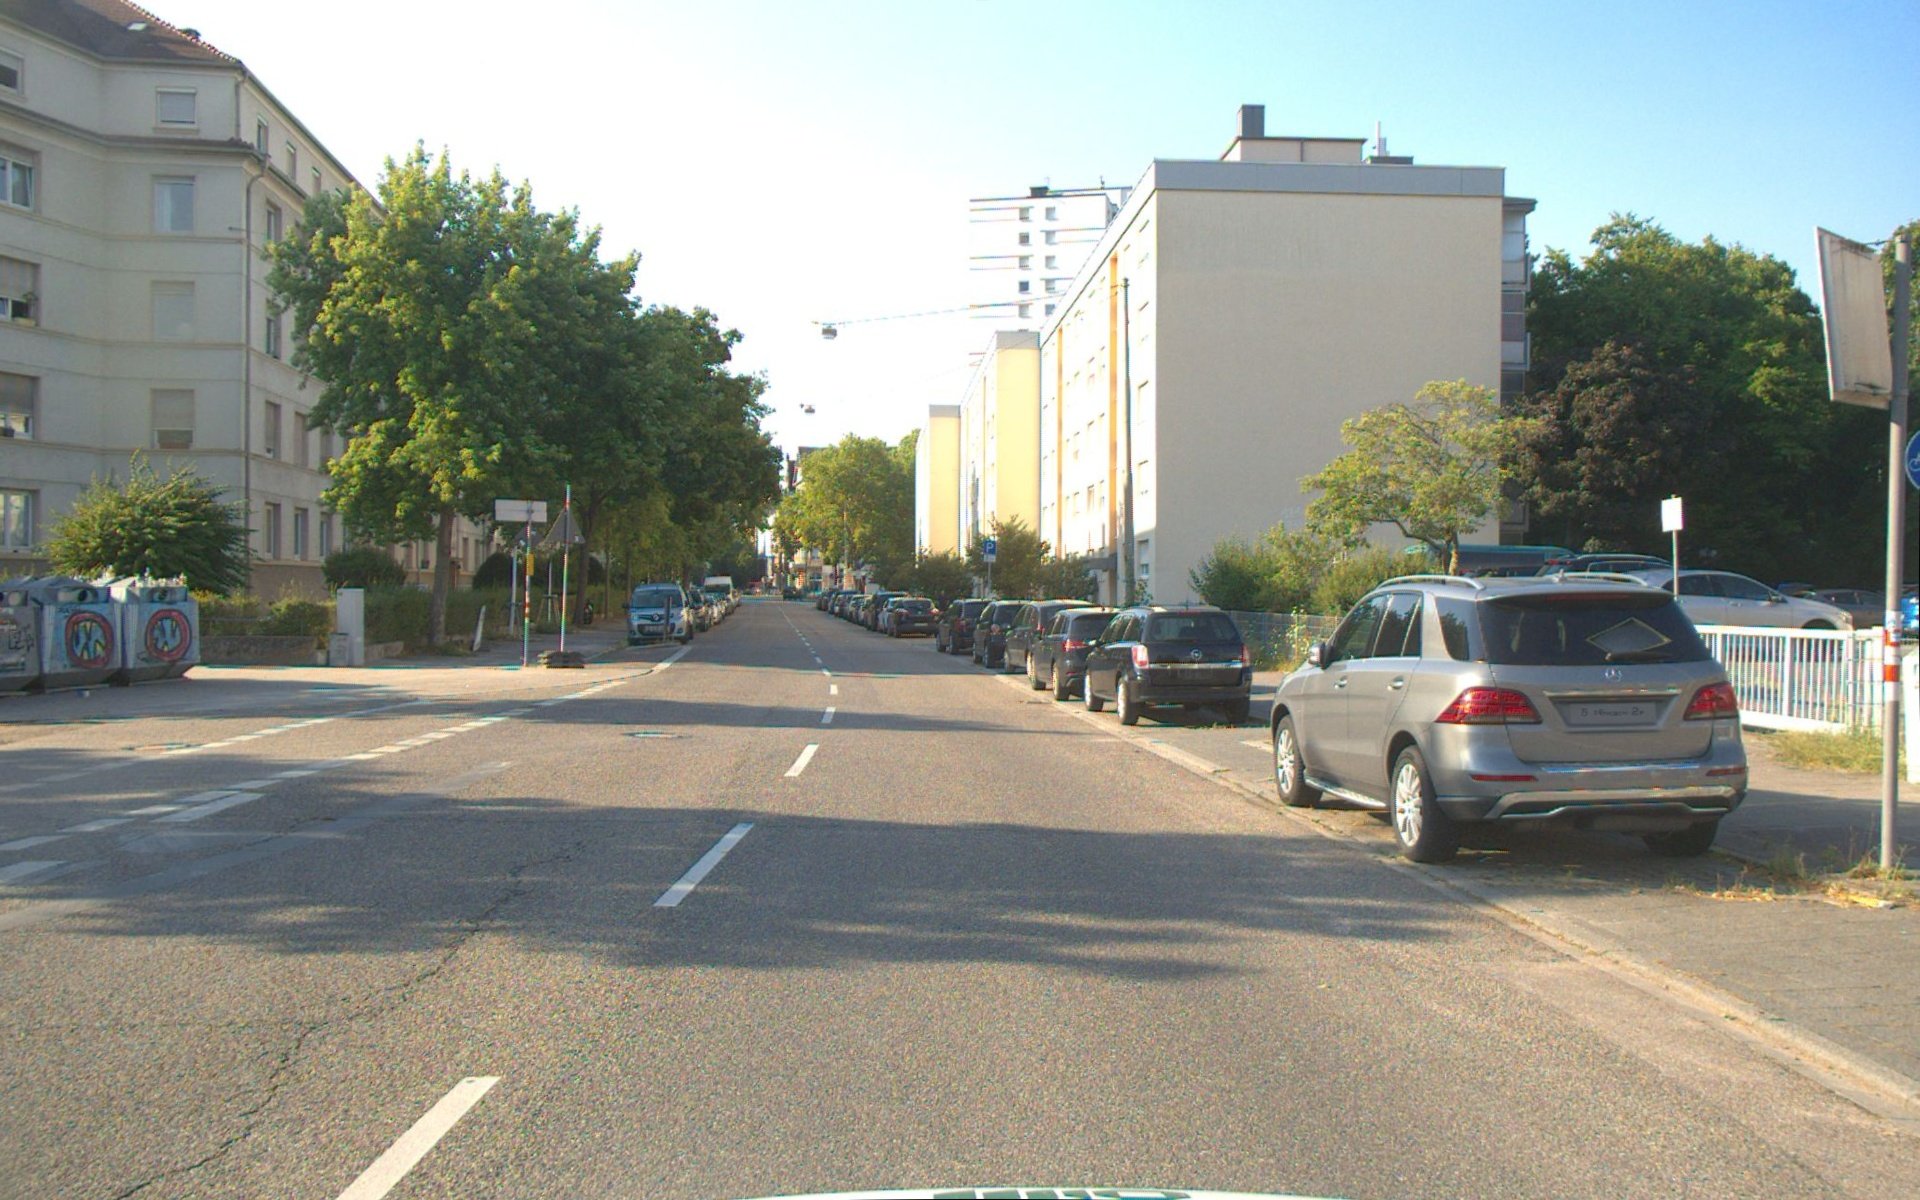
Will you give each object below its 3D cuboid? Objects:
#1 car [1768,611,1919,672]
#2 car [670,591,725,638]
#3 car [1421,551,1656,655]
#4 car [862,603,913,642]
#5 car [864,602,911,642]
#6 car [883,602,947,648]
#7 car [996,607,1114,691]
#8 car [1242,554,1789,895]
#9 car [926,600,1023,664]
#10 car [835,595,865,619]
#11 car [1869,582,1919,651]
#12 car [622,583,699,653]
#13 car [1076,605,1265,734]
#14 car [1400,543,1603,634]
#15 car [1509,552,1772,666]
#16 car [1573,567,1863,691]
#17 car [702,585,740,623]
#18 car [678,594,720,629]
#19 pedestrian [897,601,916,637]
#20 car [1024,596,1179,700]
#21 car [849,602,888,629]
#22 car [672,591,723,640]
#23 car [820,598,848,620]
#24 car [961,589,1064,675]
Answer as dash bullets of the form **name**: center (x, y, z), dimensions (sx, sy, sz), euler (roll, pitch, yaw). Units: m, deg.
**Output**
- **car**: center (25.072, 1.171, 46.360), dimensions (3.994, 1.530, 1.828), euler (3, -1, -7)
- **car**: center (-9.576, 0.535, 60.516), dimensions (1.839, 1.579, 3.992), euler (3, -1, -9)
- **car**: center (11.472, 0.077, 32.970), dimensions (3.909, 1.825, 1.998), euler (3, -1, -5)
- **car**: center (-3.053, 0.935, 68.822), dimensions (1.738, 1.534, 3.992), euler (-1, -1, -8)
- **car**: center (-3.295, 0.987, 74.136), dimensions (1.738, 1.707, 4.639), euler (1, -1, -7)
- **car**: center (-1.750, 0.961, 63.319), dimensions (1.766, 1.533, 4.612), euler (6, -2, -9)
- **car**: center (1.855, 0.943, 33.480), dimensions (1.619, 1.461, 3.953), euler (0, 2, -8)
- **car**: center (3.547, 0.733, 11.709), dimensions (1.884, 1.810, 4.805), euler (-3, -1, -4)
- **car**: center (0.341, 0.864, 45.750), dimensions (1.851, 1.588, 4.936), euler (-3, 0, -9)
- **car**: center (-7.536, 0.478, 113.016), dimensions (1.802, 1.528, 4.167), euler (3, -1, -6)
- **car**: center (25.172, 0.507, 40.982), dimensions (4.389, 1.630, 1.731), euler (3, -1, -4)
- **car**: center (-9.041, 0.554, 50.223), dimensions (1.806, 1.929, 4.481), euler (4, -1, -6)
- **car**: center (2.761, 0.891, 22.690), dimensions (1.707, 1.568, 4.435), euler (-1, -1, -4)
- **car**: center (12.310, -0.238, 37.734), dimensions (3.911, 1.825, 1.997), euler (3, -1, -7)
- **car**: center (12.283, 0.185, 29.980), dimensions (3.911, 1.825, 1.997), euler (3, -1, -7)
- **car**: center (12.559, 0.488, 27.549), dimensions (3.911, 1.825, 1.997), euler (3, -1, -7)
- **car**: center (-16.555, 0.309, 114.710), dimensions (2.313, 2.488, 6.155), euler (3, -1, -7)
- **car**: center (-12.933, 0.580, 82.050), dimensions (1.967, 1.579, 4.462), euler (3, -1, -9)
- **pedestrian**: center (-2.940, 1.036, 90.787), dimensions (0.872, 1.923, 1.277), euler (3, -1, -7)
- **car**: center (2.320, 0.801, 28.411), dimensions (1.864, 1.556, 4.806), euler (3, -1, -4)
- **car**: center (-5.372, 0.914, 96.742), dimensions (1.839, 1.468, 3.992), euler (3, -1, -9)
- **car**: center (-10.382, 0.620, 65.481), dimensions (1.838, 1.790, 4.680), euler (3, -1, -9)
- **car**: center (-10.380, 0.740, 135.948), dimensions (1.862, 1.680, 4.334), euler (3, 0, -9)
- **car**: center (1.160, 0.737, 38.698), dimensions (1.864, 1.810, 4.577), euler (3, -1, -4)
